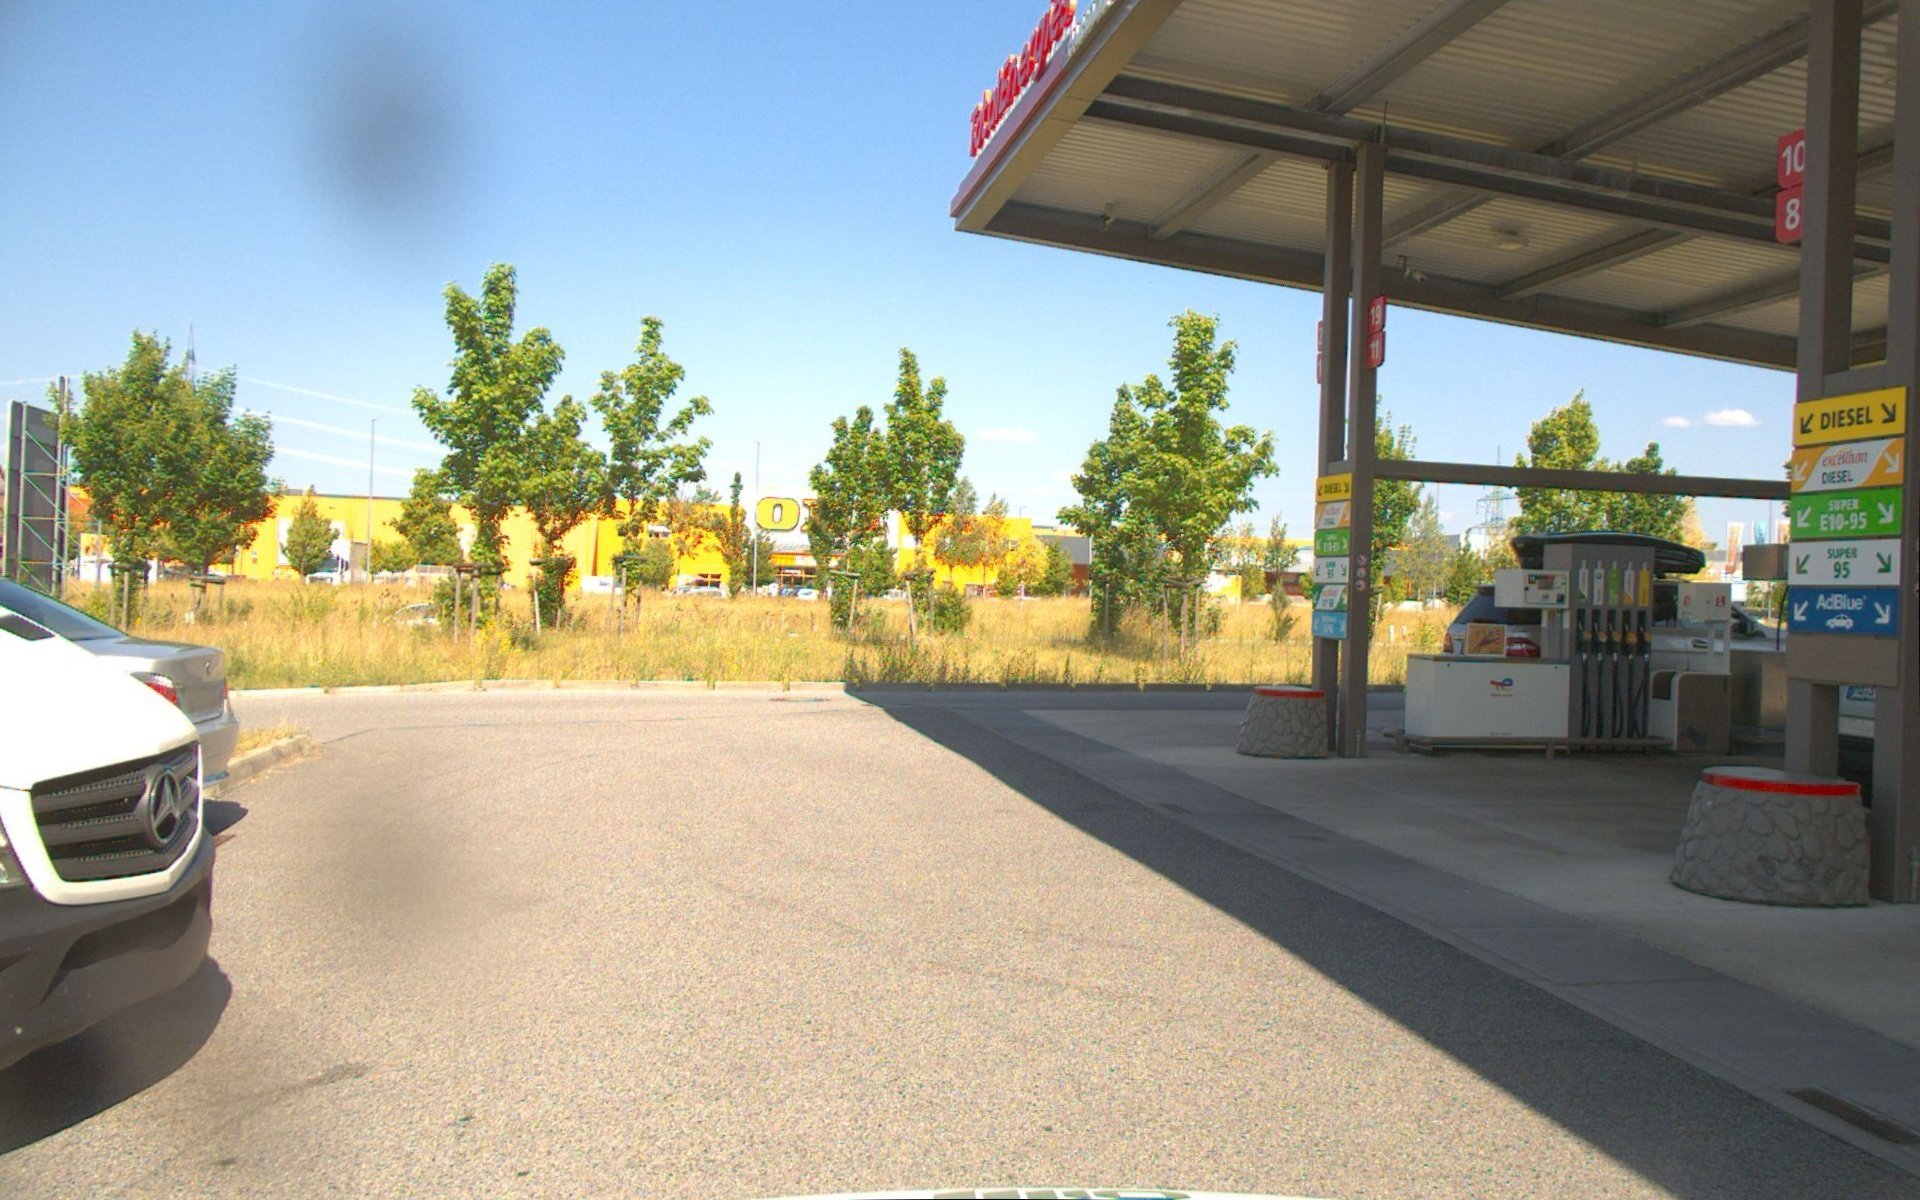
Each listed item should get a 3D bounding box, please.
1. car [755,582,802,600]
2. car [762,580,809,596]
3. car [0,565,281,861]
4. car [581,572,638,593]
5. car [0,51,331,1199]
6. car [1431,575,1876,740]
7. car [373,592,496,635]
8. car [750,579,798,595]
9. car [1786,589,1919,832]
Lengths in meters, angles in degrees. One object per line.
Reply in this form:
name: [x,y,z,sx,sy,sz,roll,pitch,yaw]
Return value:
car: [-16.021,-0.819,145.674,4.079,1.496,1.668,1,0,-9]
car: [-15.055,-1.030,142.434,3.930,1.322,1.754,1,0,-9]
car: [-6.127,0.508,8.879,4.229,1.453,1.789,2,0,-10]
car: [-27.606,-1.382,130.329,4.289,1.575,1.790,1,0,-9]
car: [-5.586,-0.104,4.421,6.870,2.616,1.998,3,0,-4]
car: [7.799,0.613,18.708,4.445,1.717,1.859,1,0,-15]
car: [-17.310,0.443,54.615,3.662,1.322,1.483,1,0,-9]
car: [-14.443,-1.021,128.164,3.630,1.133,1.590,1,0,-9]
car: [8.232,0.745,11.504,4.233,1.568,1.782,1,0,-10]
